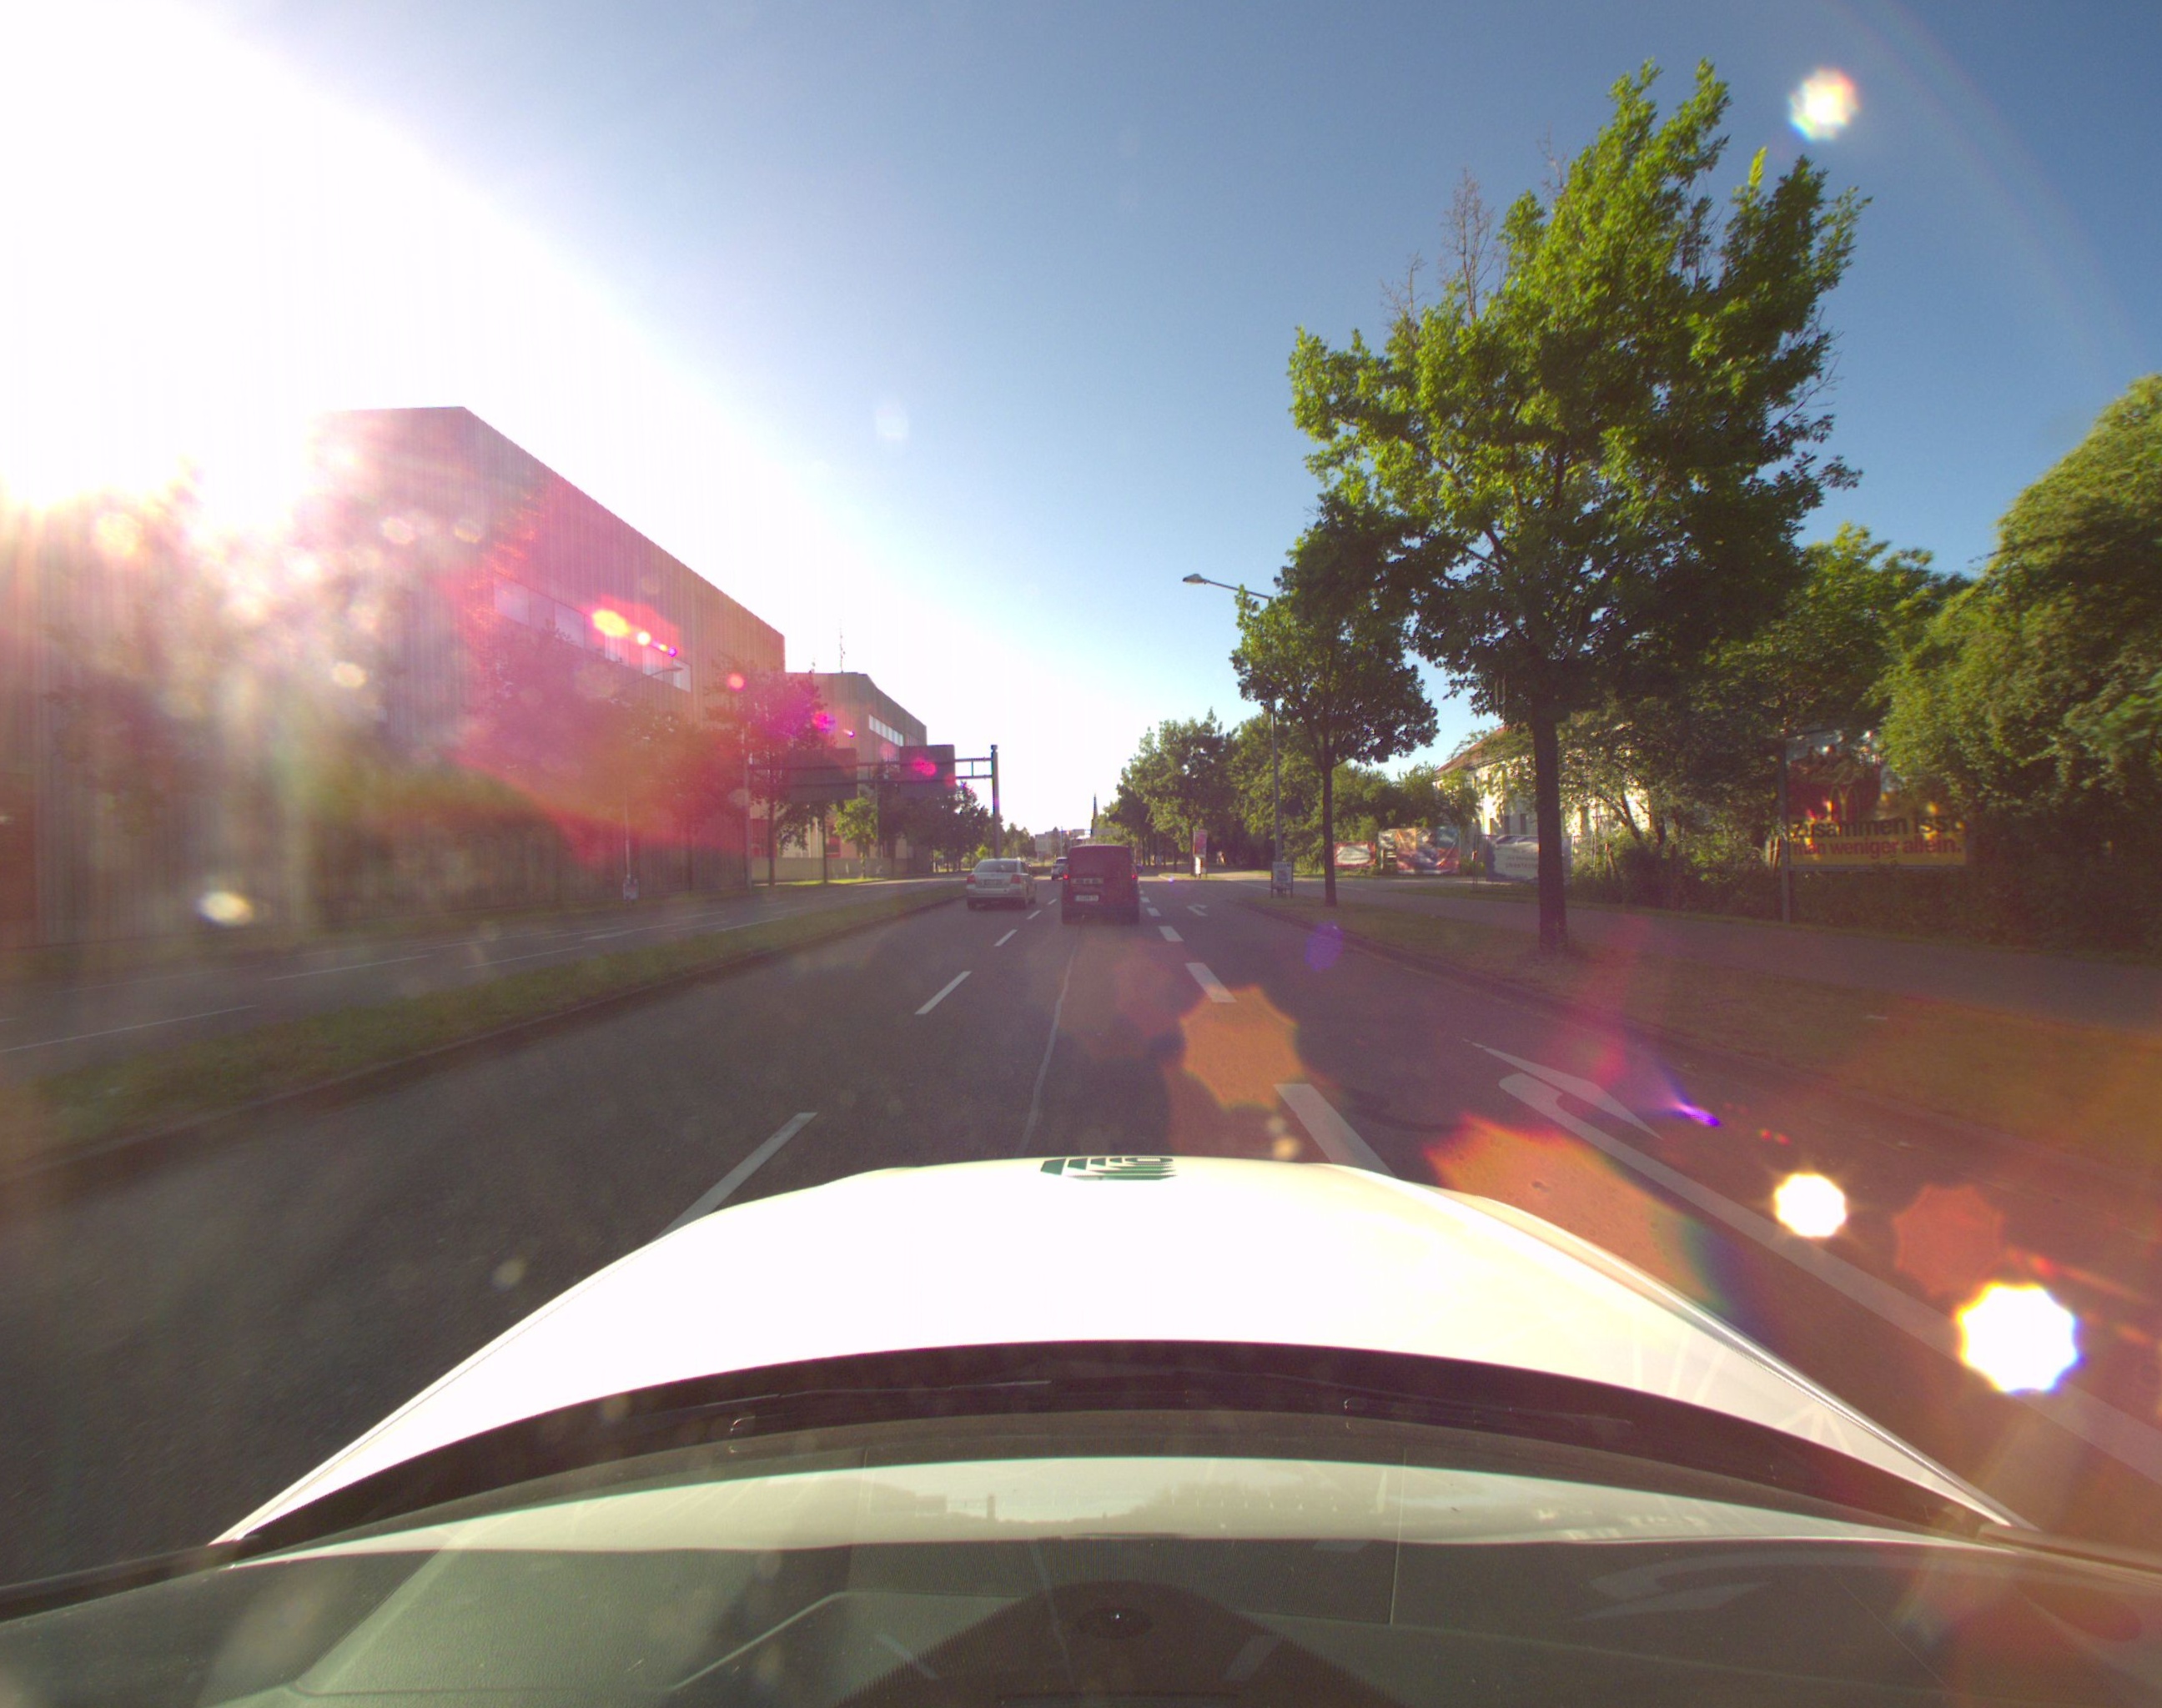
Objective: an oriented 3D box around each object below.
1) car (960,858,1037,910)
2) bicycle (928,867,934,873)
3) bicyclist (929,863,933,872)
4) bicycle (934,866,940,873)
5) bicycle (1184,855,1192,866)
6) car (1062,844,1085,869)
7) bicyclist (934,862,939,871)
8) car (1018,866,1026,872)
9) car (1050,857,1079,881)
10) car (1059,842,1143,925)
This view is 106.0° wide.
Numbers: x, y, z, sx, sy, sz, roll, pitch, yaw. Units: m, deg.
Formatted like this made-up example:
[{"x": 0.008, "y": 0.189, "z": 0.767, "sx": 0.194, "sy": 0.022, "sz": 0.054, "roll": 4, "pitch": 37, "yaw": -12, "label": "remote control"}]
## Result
[{"x": -2.432, "y": 0.856, "z": 24.934, "sx": 1.834, "sy": 1.456, "sz": 4.163, "roll": -1, "pitch": 0, "yaw": 1, "label": "car"}, {"x": -22.899, "y": 2.458, "z": 124.441, "sx": 0.485, "sy": 1.003, "sz": 2.096, "roll": -2, "pitch": -1, "yaw": 0, "label": "bicycle"}, {"x": -22.911, "y": 2.045, "z": 124.455, "sx": 0.480, "sy": 1.395, "sz": 0.844, "roll": -2, "pitch": -1, "yaw": 0, "label": "bicyclist"}, {"x": -21.972, "y": 2.409, "z": 124.177, "sx": 0.568, "sy": 1.003, "sz": 2.096, "roll": -2, "pitch": -1, "yaw": 0, "label": "bicycle"}, {"x": 11.736, "y": 0.737, "z": 89.584, "sx": 0.769, "sy": 1.131, "sz": 1.713, "roll": -2, "pitch": 0, "yaw": 9, "label": "bicycle"}, {"x": -0.591, "y": 0.209, "z": 64.927, "sx": 1.656, "sy": 1.856, "sz": 3.559, "roll": -2, "pitch": 0, "yaw": 1, "label": "car"}, {"x": -21.984, "y": 1.950, "z": 124.173, "sx": 0.560, "sy": 1.392, "sz": 0.747, "roll": -2, "pitch": -1, "yaw": 0, "label": "bicyclist"}, {"x": -13.312, "y": 3.366, "z": 183.803, "sx": 1.441, "sy": 1.436, "sz": 3.459, "roll": -2, "pitch": 0, "yaw": 0, "label": "car"}, {"x": -1.020, "y": 0.916, "z": 51.095, "sx": 1.656, "sy": 1.398, "sz": 3.559, "roll": -2, "pitch": 0, "yaw": 1, "label": "car"}, {"x": 0.461, "y": 0.648, "z": 19.629, "sx": 1.800, "sy": 1.759, "sz": 4.006, "roll": -1, "pitch": 0, "yaw": 1, "label": "car"}]
